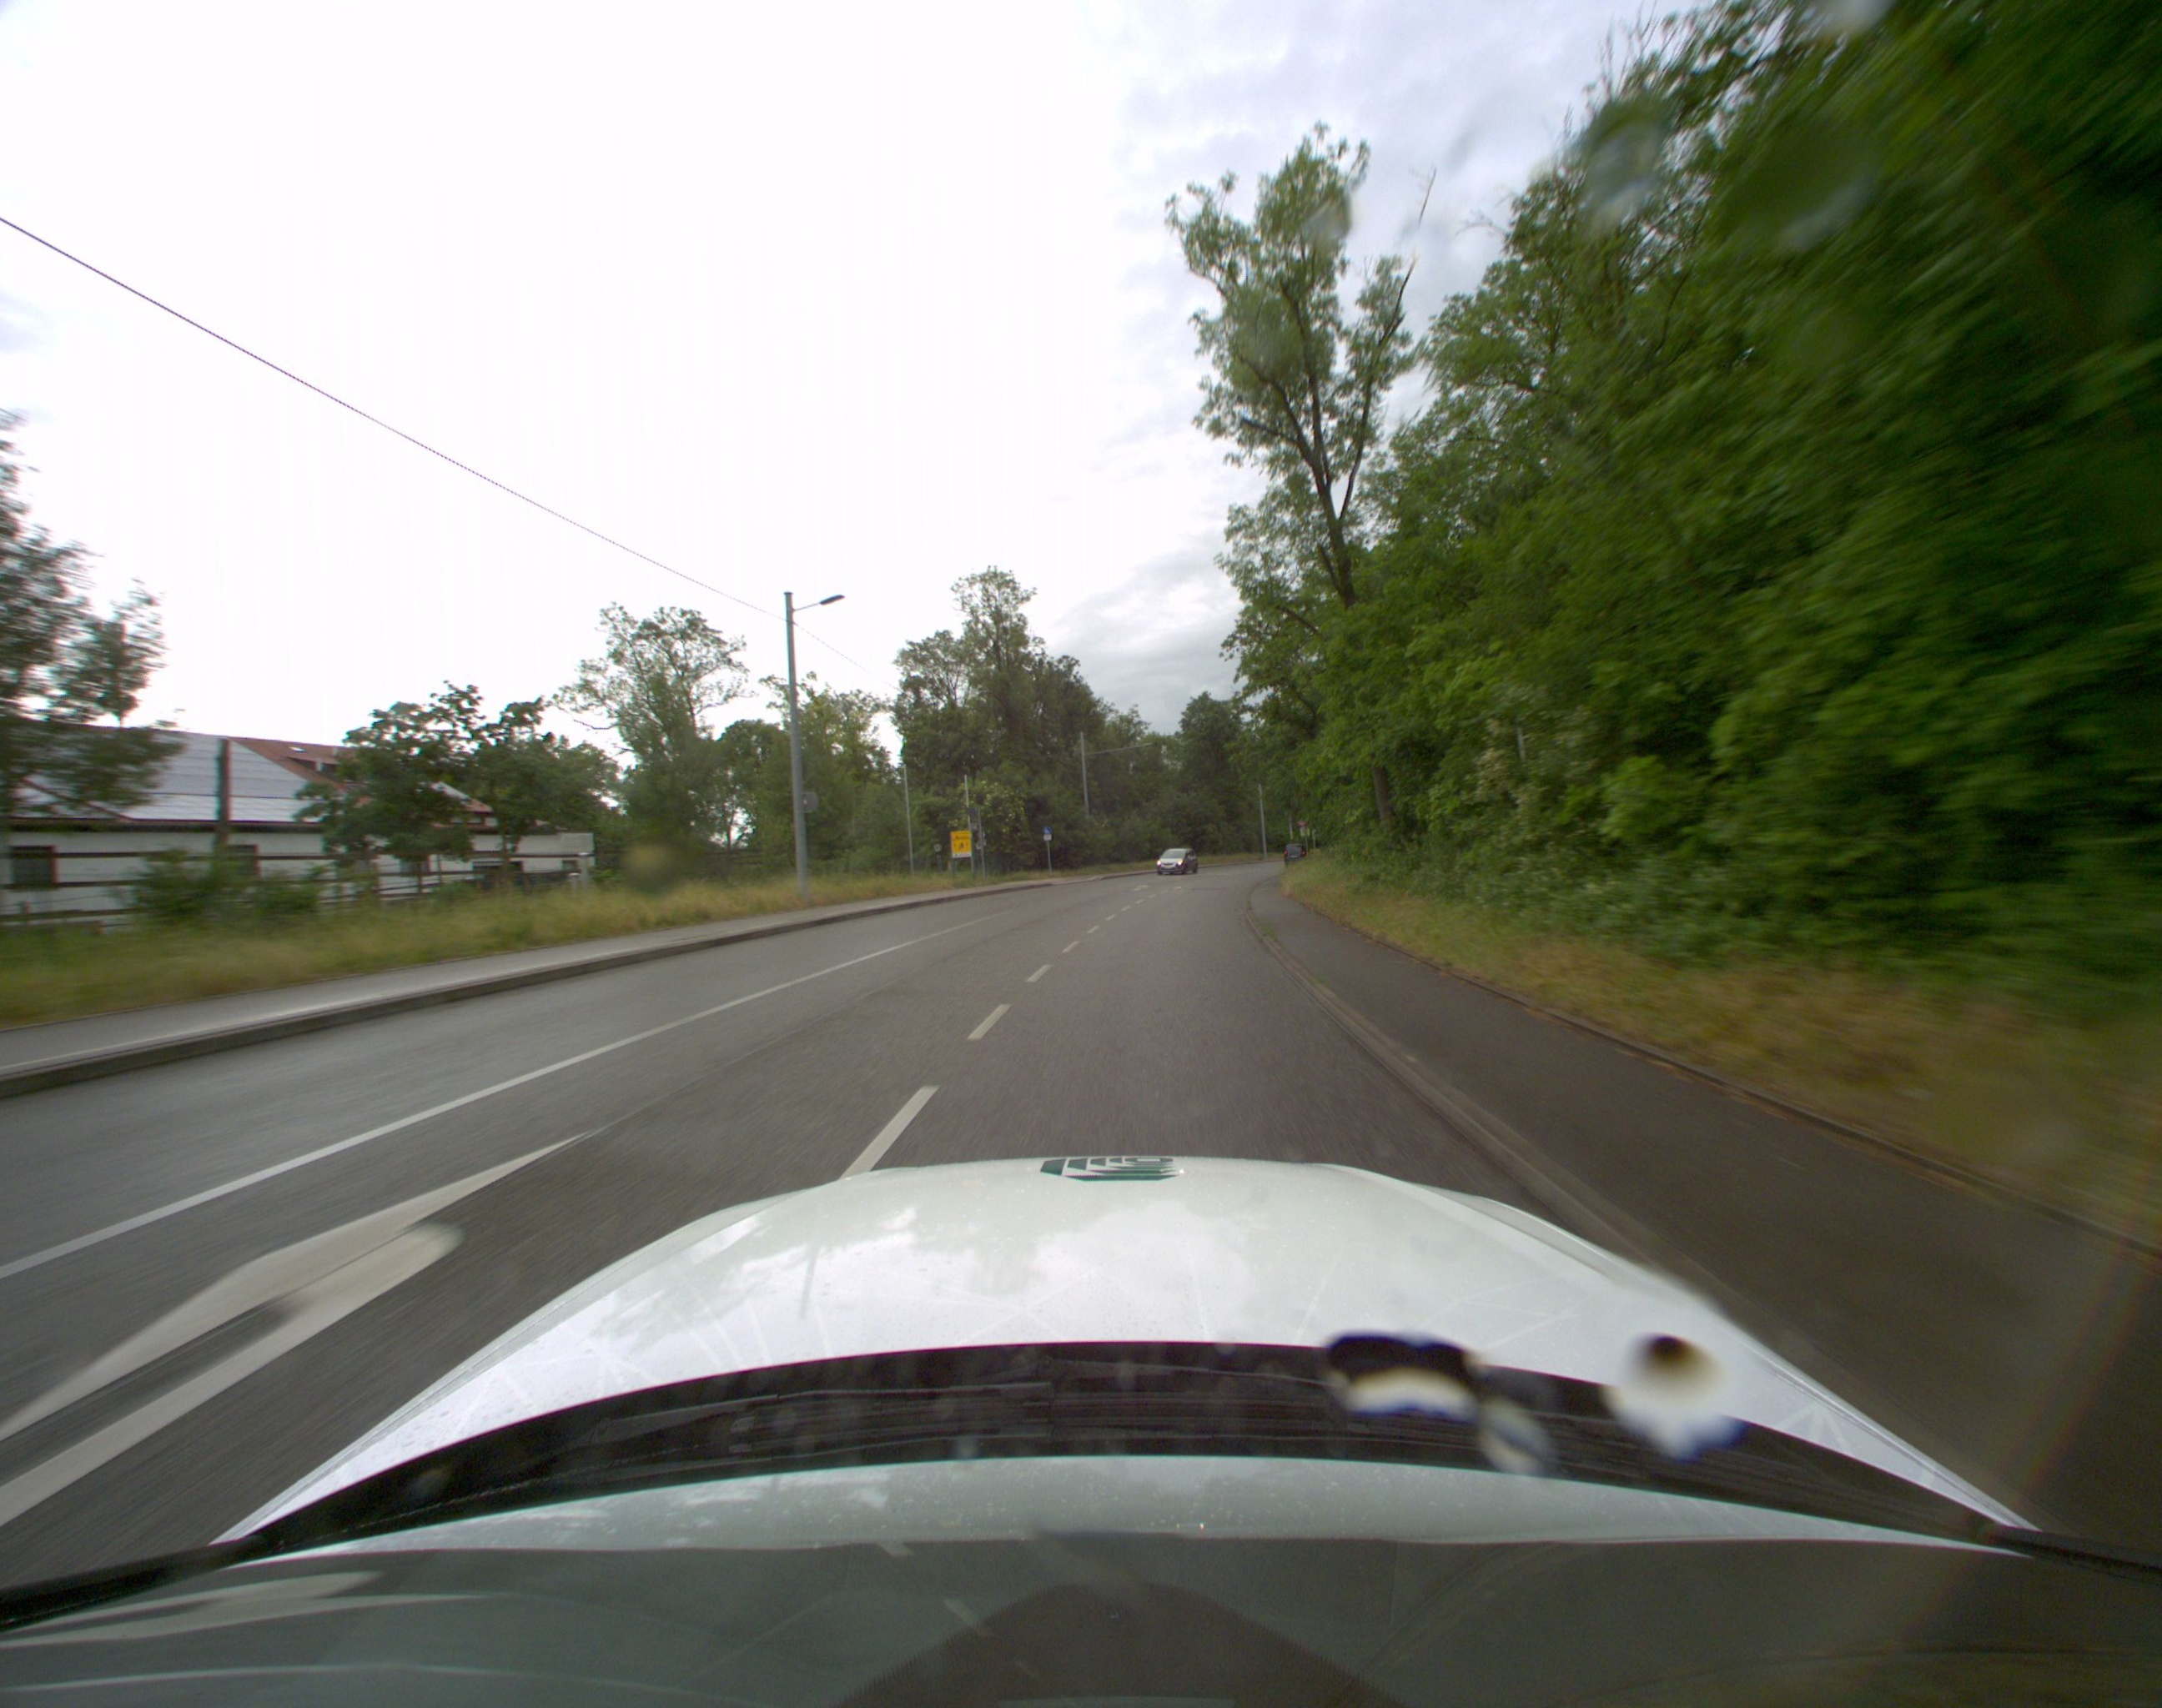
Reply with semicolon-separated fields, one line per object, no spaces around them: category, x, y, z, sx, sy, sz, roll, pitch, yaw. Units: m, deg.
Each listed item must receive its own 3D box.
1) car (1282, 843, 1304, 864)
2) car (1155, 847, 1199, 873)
car;16.714;-0.031;64.208;1.655;1.593;3.697;-1;0;15
car;6.209;0.358;52.132;1.744;1.614;4.441;0;0;21
